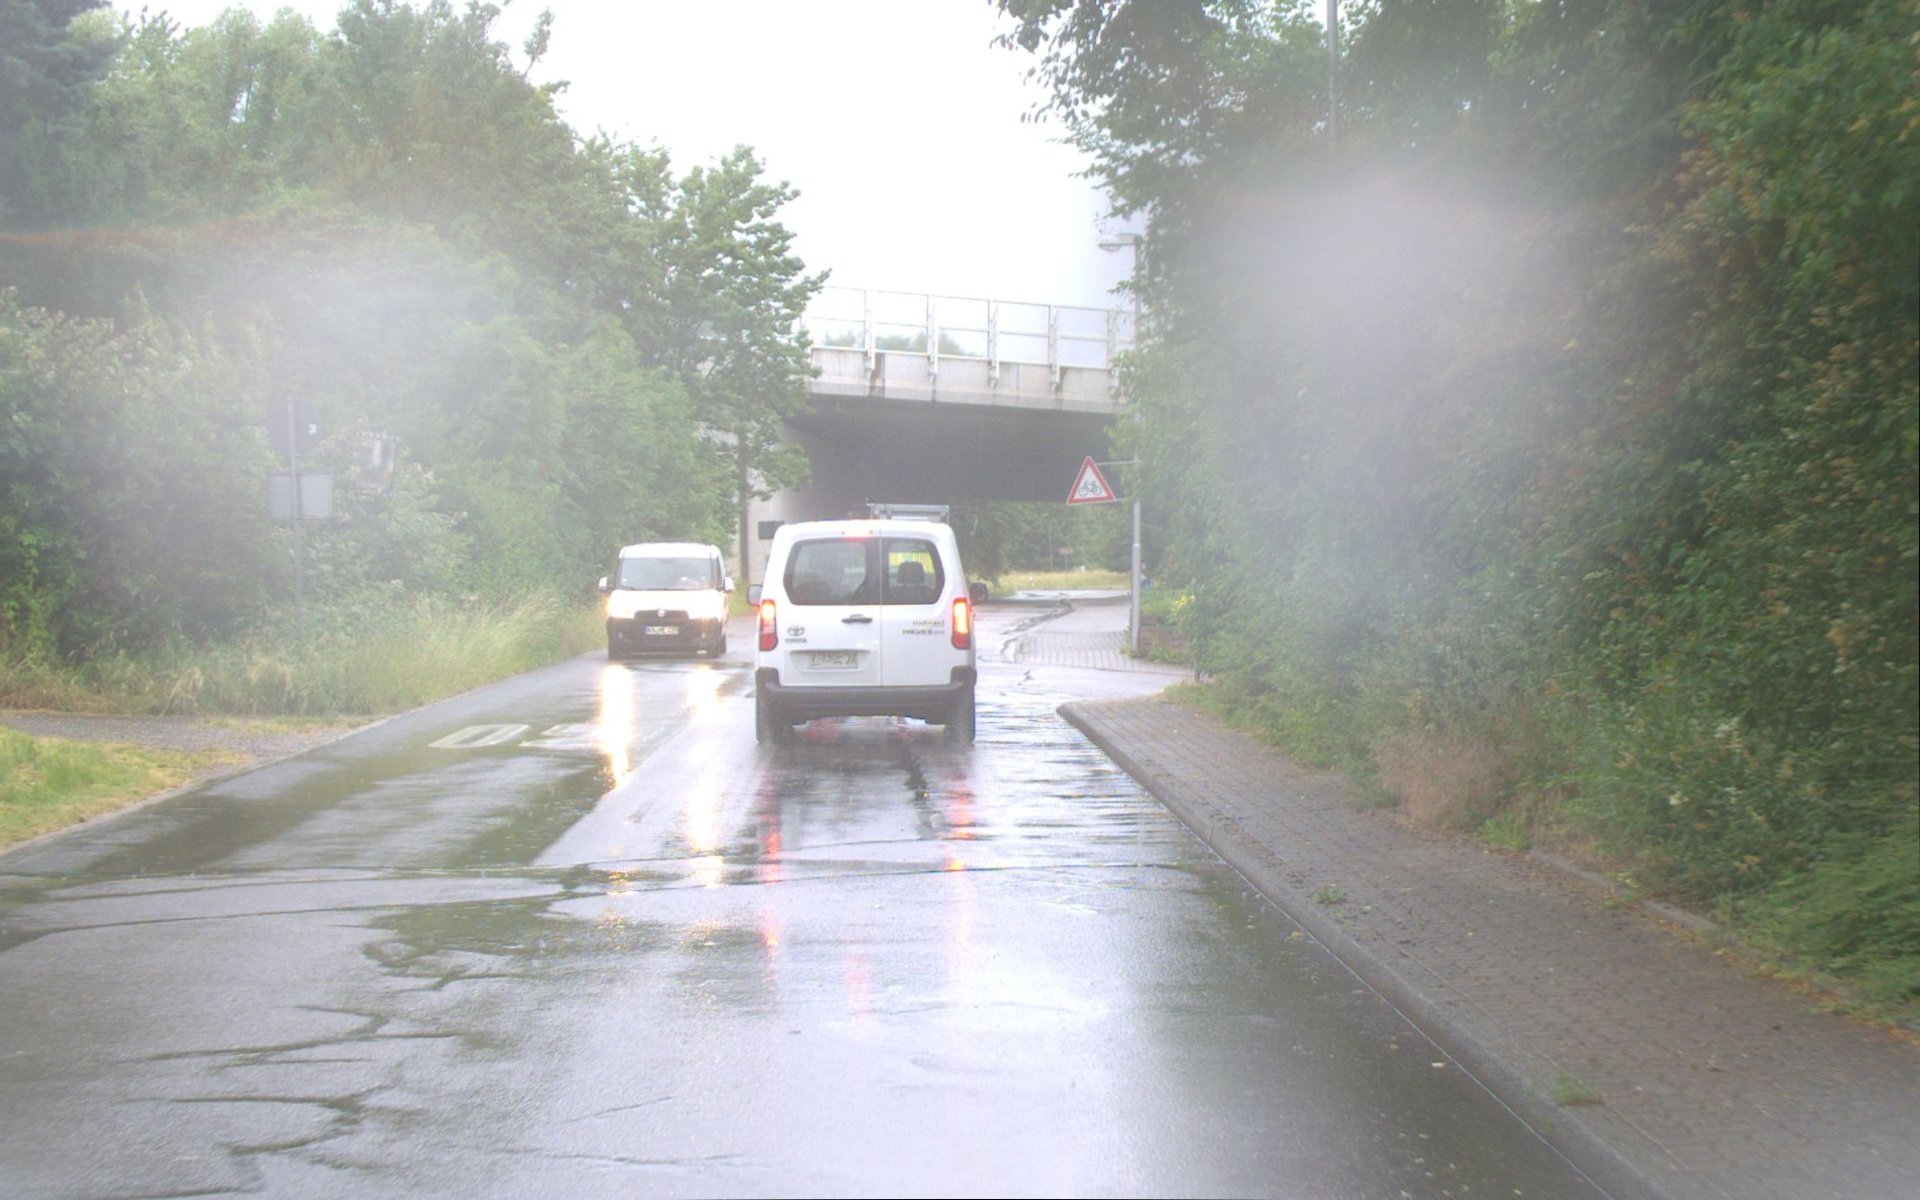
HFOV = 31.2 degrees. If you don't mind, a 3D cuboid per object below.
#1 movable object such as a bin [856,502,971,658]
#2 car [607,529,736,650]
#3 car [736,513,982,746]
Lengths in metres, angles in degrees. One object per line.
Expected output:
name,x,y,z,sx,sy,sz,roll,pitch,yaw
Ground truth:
movable object such as a bin,-0.768,-0.346,58.896,1.761,2.539,4.239,1,0,2
car,-4.510,-0.176,54.206,1.823,1.825,4.308,0,0,-2
car,-0.804,0.190,29.034,1.896,1.801,4.000,-1,1,0
